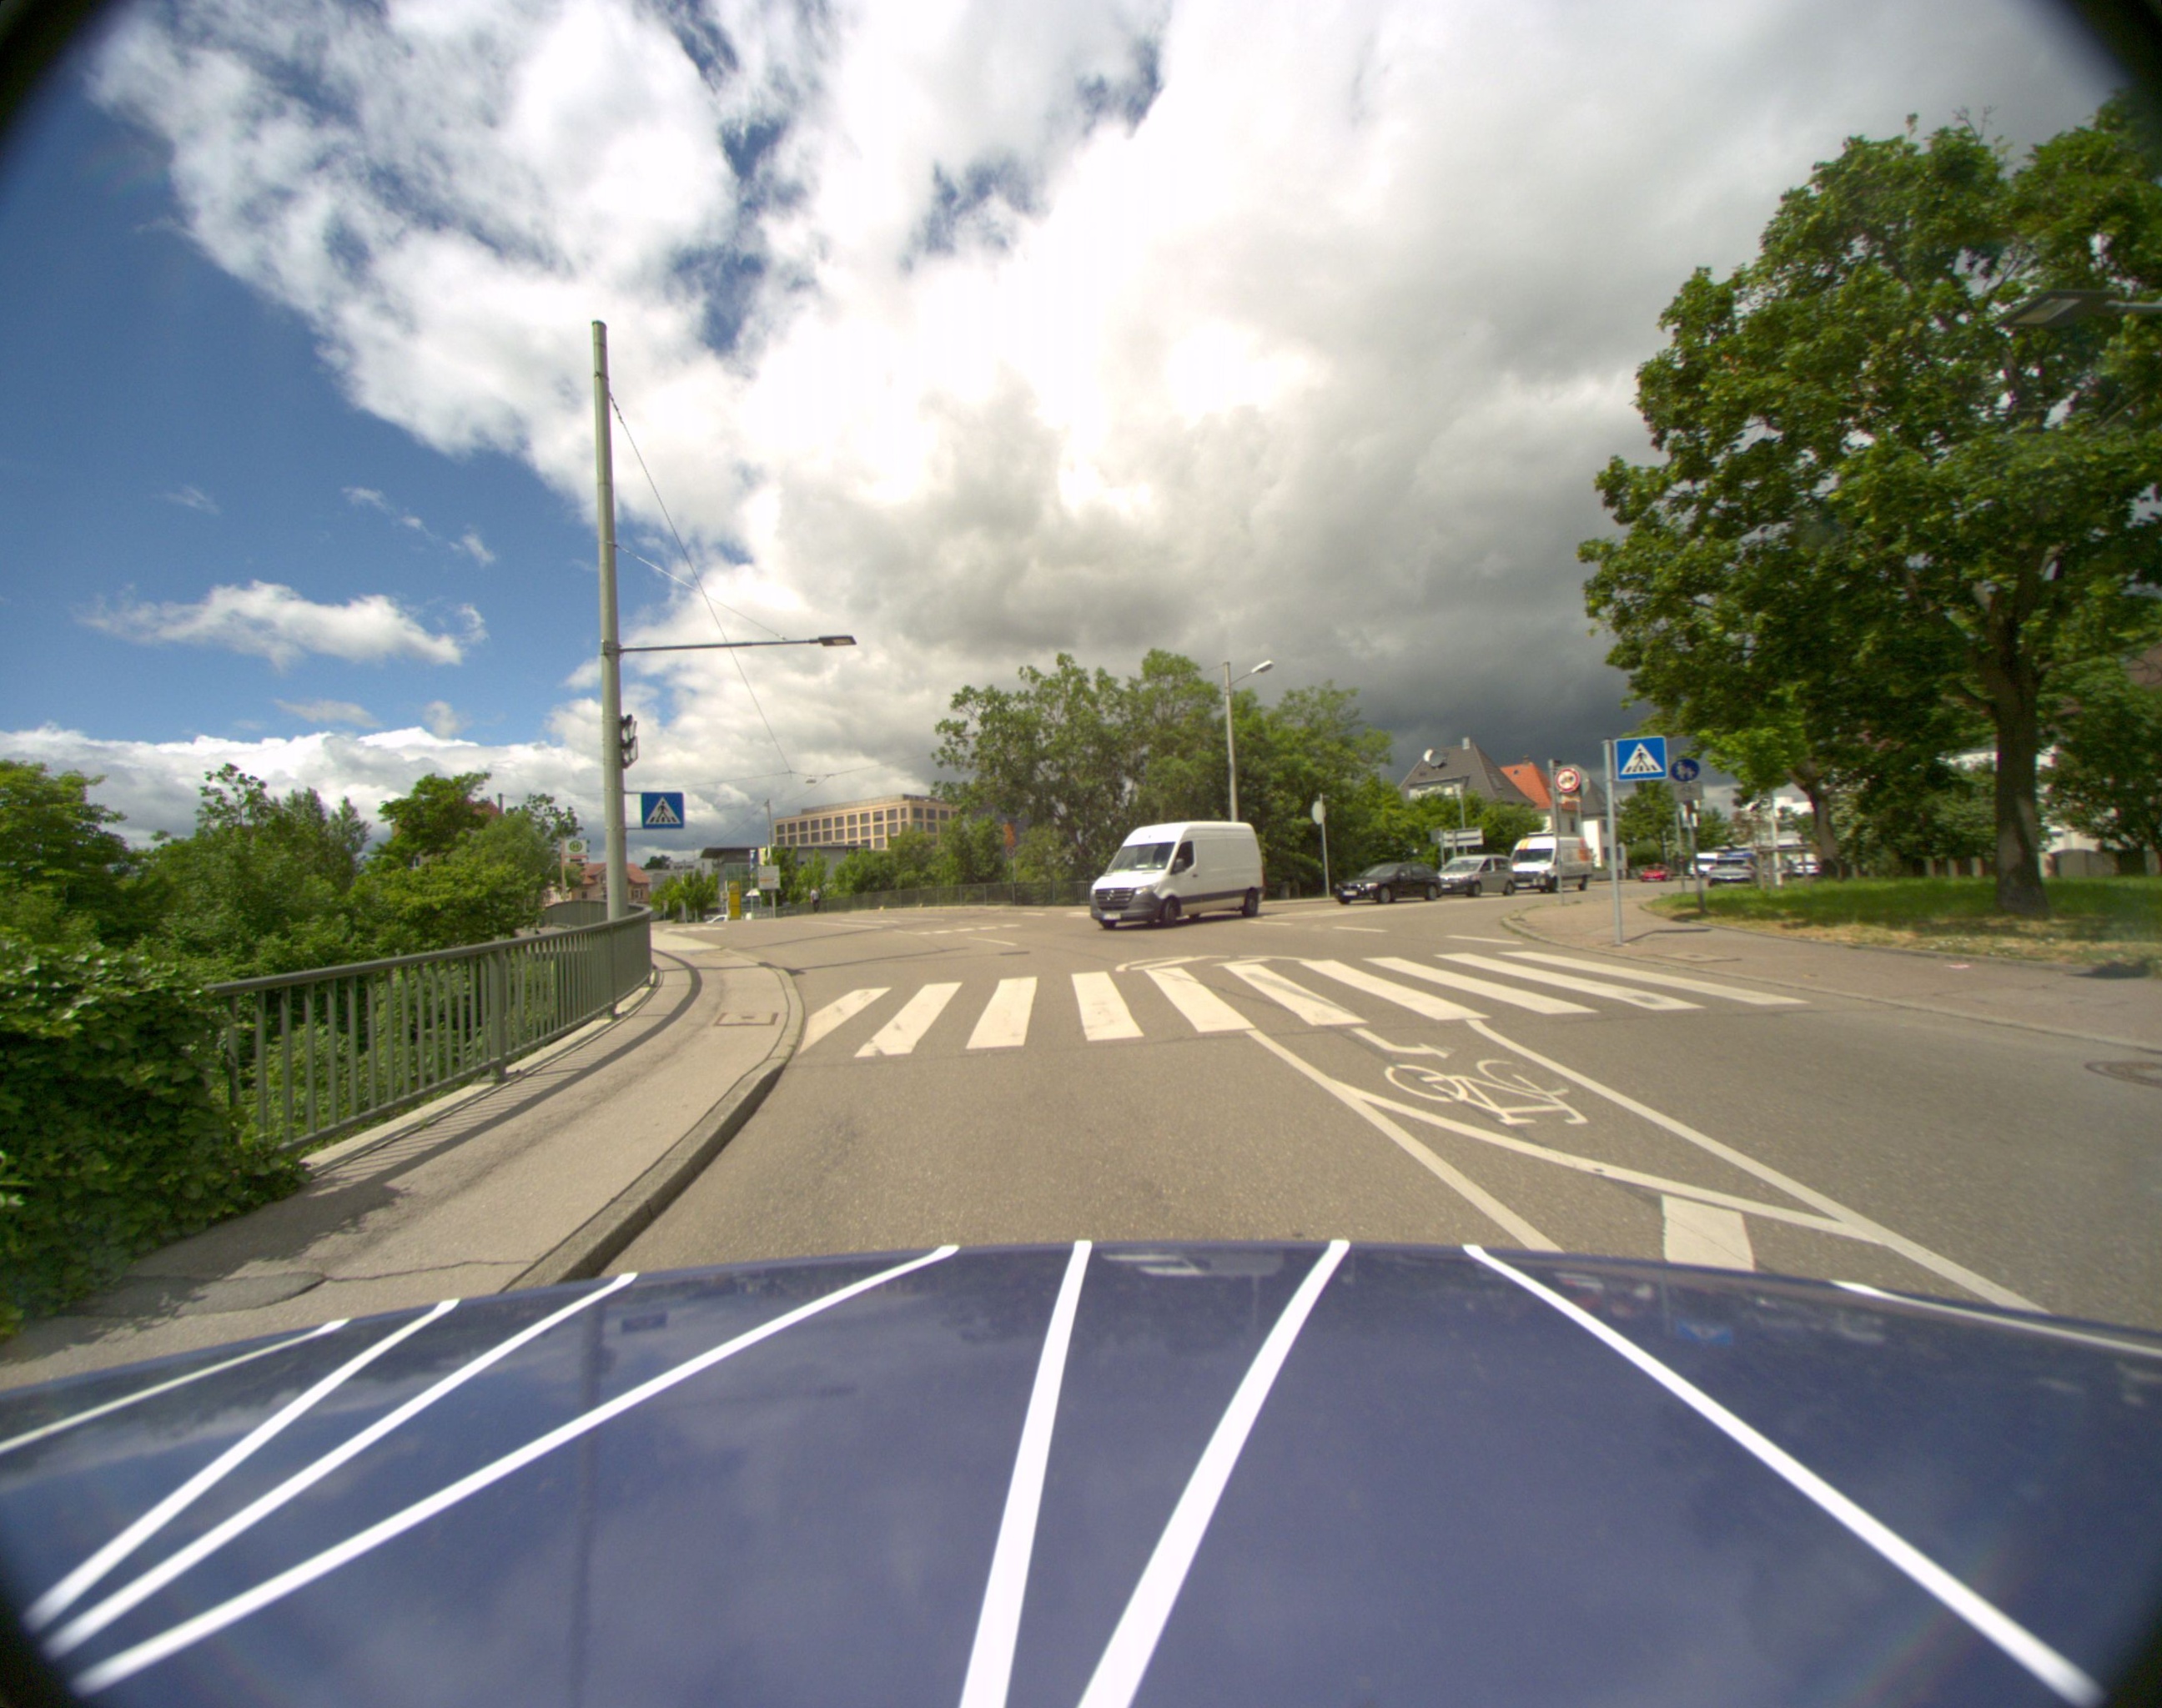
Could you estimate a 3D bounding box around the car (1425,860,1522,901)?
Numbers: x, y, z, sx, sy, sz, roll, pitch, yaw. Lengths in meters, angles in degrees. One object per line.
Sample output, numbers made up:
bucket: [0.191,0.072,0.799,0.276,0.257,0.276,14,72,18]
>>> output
car: [16.319,1.081,31.507,4.411,1.577,1.995,1,-4,-41]

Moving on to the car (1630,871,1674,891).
car: [48.483,2.269,64.465,4.411,1.577,1.995,1,-4,-41]

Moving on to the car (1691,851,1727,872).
car: [63.913,0.774,77.291,4.411,1.916,1.995,0,-4,-41]

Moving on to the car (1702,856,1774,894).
car: [35.535,1.117,41.055,4.410,1.796,2.227,-1,-3,-41]

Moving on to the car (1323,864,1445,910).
car: [10.791,1.155,26.992,4.237,1.465,1.996,0,-3,-36]

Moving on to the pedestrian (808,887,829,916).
pedestrian: [-17.610,3.190,50.924,1.001,1.825,1.035,-3,-4,-33]

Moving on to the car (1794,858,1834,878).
car: [63.817,1.193,66.108,4.410,1.578,1.995,-1,-3,-41]

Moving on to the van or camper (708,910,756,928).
van or camper: [-39.092,7.286,85.157,4.691,1.738,1.997,-1,-4,-31]

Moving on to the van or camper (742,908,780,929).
van or camper: [-33.003,6.621,78.507,1.989,1.951,4.960,-4,-3,-3]

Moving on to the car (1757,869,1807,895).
car: [49.636,1.967,53.781,4.410,1.578,1.995,-1,-3,-41]

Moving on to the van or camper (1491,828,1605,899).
van or camper: [22.496,0.604,36.357,8.346,2.975,2.266,3,-6,-42]

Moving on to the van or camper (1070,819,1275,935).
van or camper: [2.568,0.573,19.701,2.188,2.551,5.942,-2,-2,42]
